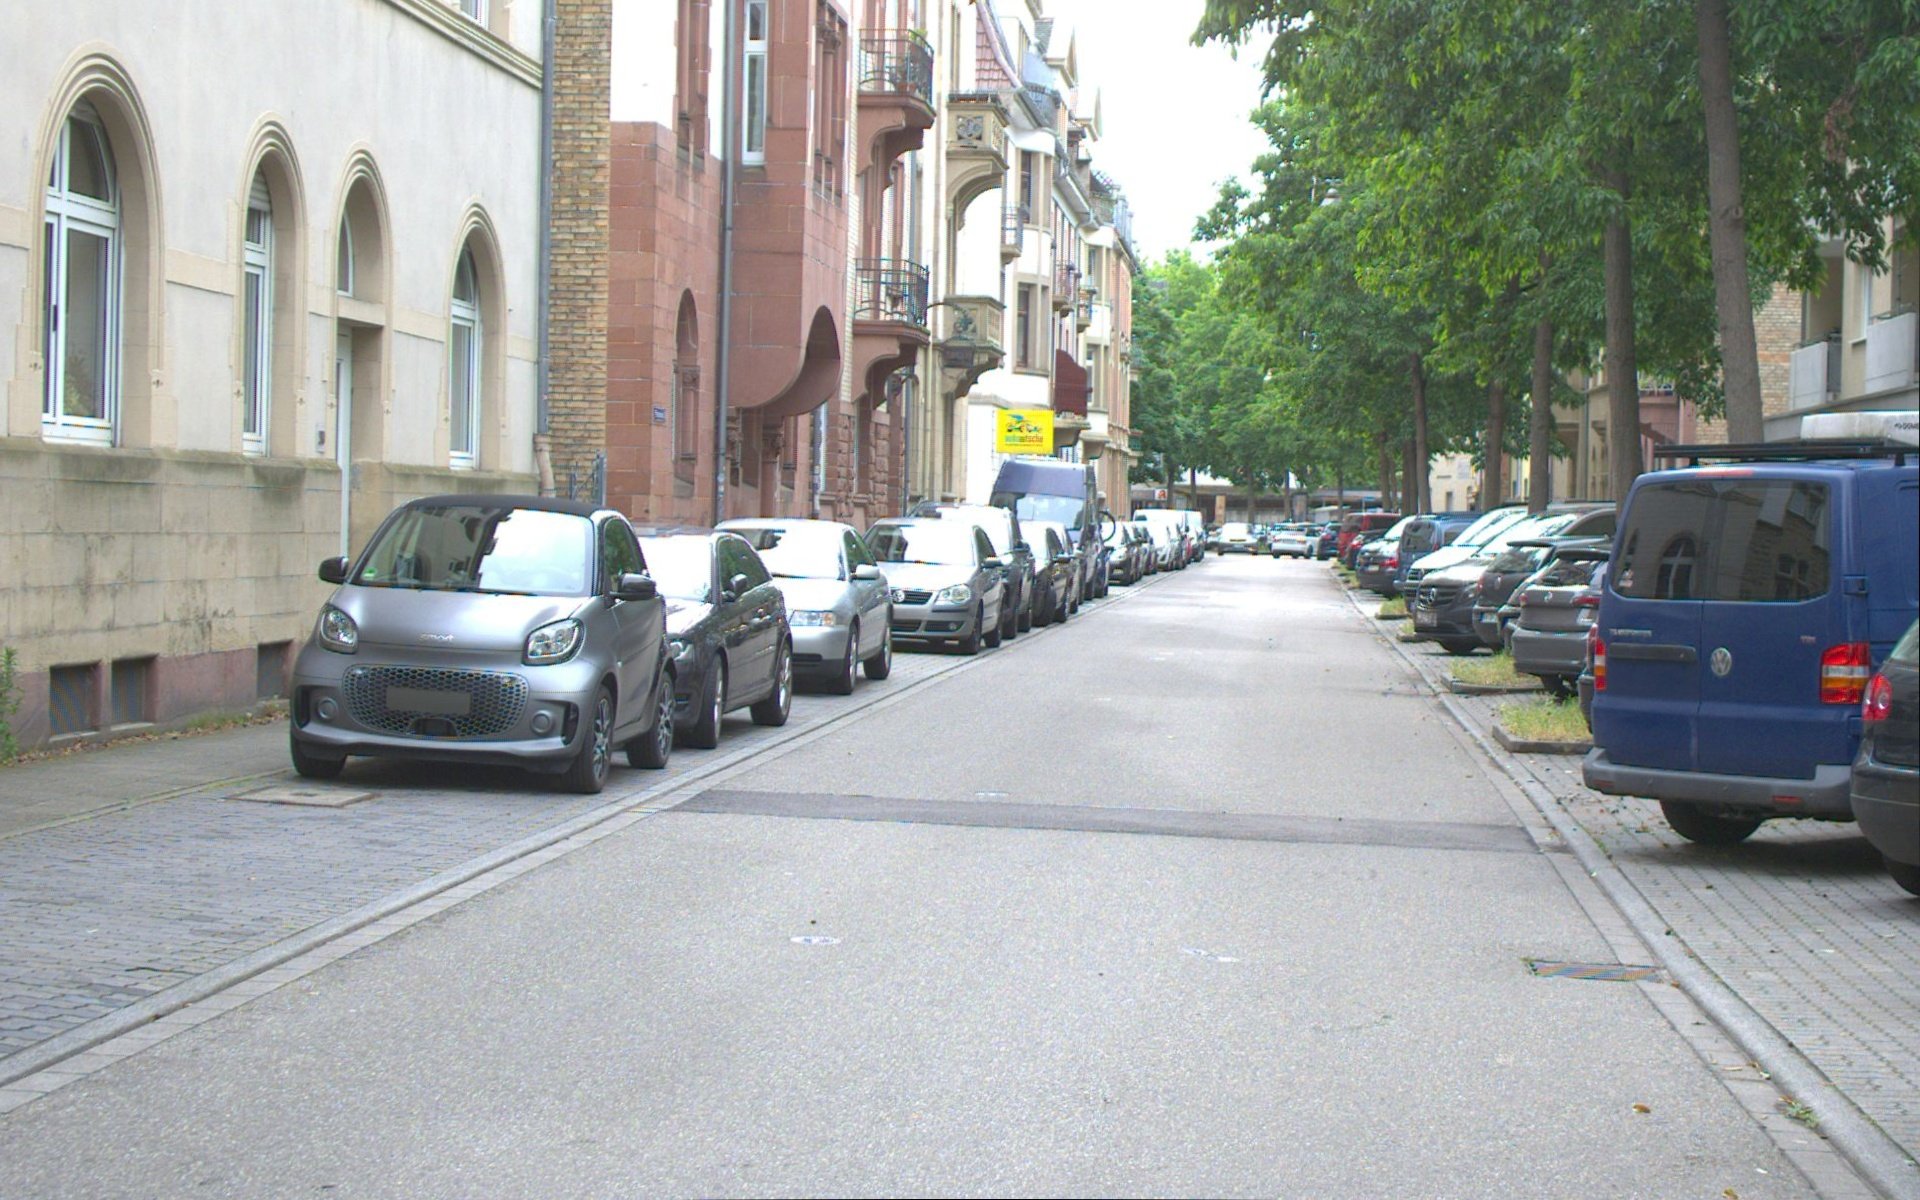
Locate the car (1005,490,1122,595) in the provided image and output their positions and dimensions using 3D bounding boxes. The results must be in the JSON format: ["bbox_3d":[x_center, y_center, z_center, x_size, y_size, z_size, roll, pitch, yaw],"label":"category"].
[{"bbox_3d":[2.145,-1.187,69.915,1.994,2.007,4.890,1,1,6],"label":"car"}]

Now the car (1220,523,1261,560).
[{"bbox_3d":[13.338,-2.766,163.462,1.821,1.639,3.753,3,1,5],"label":"car"}]

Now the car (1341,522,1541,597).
[{"bbox_3d":[10.737,-0.898,76.719,4.009,1.554,1.885,1,1,-25],"label":"car"}]

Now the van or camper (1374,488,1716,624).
[{"bbox_3d":[8.905,-0.664,52.389,4.728,1.987,2.000,-1,0,-19],"label":"van or camper"}]

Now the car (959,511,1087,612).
[{"bbox_3d":[1.041,-0.603,54.813,1.668,1.468,3.999,3,1,6],"label":"car"}]

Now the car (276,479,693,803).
[{"bbox_3d":[-2.571,0.158,19.193,1.647,1.565,2.956,3,3,5],"label":"car"}]

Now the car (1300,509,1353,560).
[{"bbox_3d":[15.653,-2.812,147.008,1.994,2.006,4.000,4,2,5],"label":"car"}]

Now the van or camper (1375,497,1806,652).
[{"bbox_3d":[7.989,-0.357,43.563,5.004,1.863,2.128,-1,1,-22],"label":"van or camper"}]

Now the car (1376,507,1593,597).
[{"bbox_3d":[11.268,-1.040,73.817,4.171,1.863,2.000,-1,1,-24],"label":"car"}]

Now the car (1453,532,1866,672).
[{"bbox_3d":[7.721,-0.006,38.007,4.038,1.478,1.948,0,1,-20],"label":"car"}]

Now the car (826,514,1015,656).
[{"bbox_3d":[-0.397,-0.208,38.761,1.663,1.416,3.928,3,2,5],"label":"car"}]

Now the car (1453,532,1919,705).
[{"bbox_3d":[6.955,0.132,32.107,4.212,1.495,1.976,-1,1,-22],"label":"car"}]

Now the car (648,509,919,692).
[{"bbox_3d":[-1.460,-0.052,29.950,1.726,1.381,4.136,3,2,5],"label":"car"}]

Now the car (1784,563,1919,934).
[{"bbox_3d":[5.518,0.622,14.653,3.655,1.475,1.689,0,2,-27],"label":"car"}]

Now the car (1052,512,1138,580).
[{"bbox_3d":[3.209,-1.286,81.140,1.790,1.475,4.022,3,1,5],"label":"car"}]

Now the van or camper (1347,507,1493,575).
[{"bbox_3d":[14.704,-1.896,109.967,4.145,2.078,1.953,1,1,-22],"label":"van or camper"}]

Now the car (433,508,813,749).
[{"bbox_3d":[-2.147,0.162,22.955,1.726,1.382,3.928,3,1,6],"label":"car"}]

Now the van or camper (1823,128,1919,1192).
[{"bbox_3d":[4.675,0.182,8.807,4.581,2.587,1.911,1,2,-27],"label":"van or camper"}]

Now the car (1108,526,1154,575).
[{"bbox_3d":[4.766,-1.380,95.603,1.136,1.305,3.260,-2,1,5],"label":"car"}]

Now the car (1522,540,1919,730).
[{"bbox_3d":[6.644,0.255,28.734,3.358,1.491,1.853,-1,1,-17],"label":"car"}]

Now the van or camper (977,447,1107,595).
[{"bbox_3d":[1.594,-1.490,64.681,2.008,2.642,5.315,1,1,6],"label":"van or camper"}]

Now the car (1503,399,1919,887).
[{"bbox_3d":[5.090,0.164,17.541,4.385,2.189,2.067,0,2,-37],"label":"car"}]

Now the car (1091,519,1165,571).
[{"bbox_3d":[5.096,-1.678,103.792,1.994,1.470,3.999,1,1,5],"label":"car"}]

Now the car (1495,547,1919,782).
[{"bbox_3d":[5.792,0.384,23.305,4.100,1.437,1.853,0,2,-34],"label":"car"}]

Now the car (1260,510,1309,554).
[{"bbox_3d":[14.347,-2.994,151.999,1.994,1.787,3.999,3,1,4],"label":"car"}]

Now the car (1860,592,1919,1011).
[{"bbox_3d":[5.199,0.618,11.945,3.804,1.413,1.725,-2,0,-28],"label":"car"}]

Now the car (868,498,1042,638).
[{"bbox_3d":[-0.014,-0.457,44.751,1.786,1.641,4.361,3,2,5],"label":"car"}]

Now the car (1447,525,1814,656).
[{"bbox_3d":[7.934,-0.138,40.708,3.848,1.497,1.913,0,1,-23],"label":"car"}]

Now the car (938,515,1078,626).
[{"bbox_3d":[0.737,-0.465,49.976,1.635,1.468,3.999,3,2,6],"label":"car"}]
